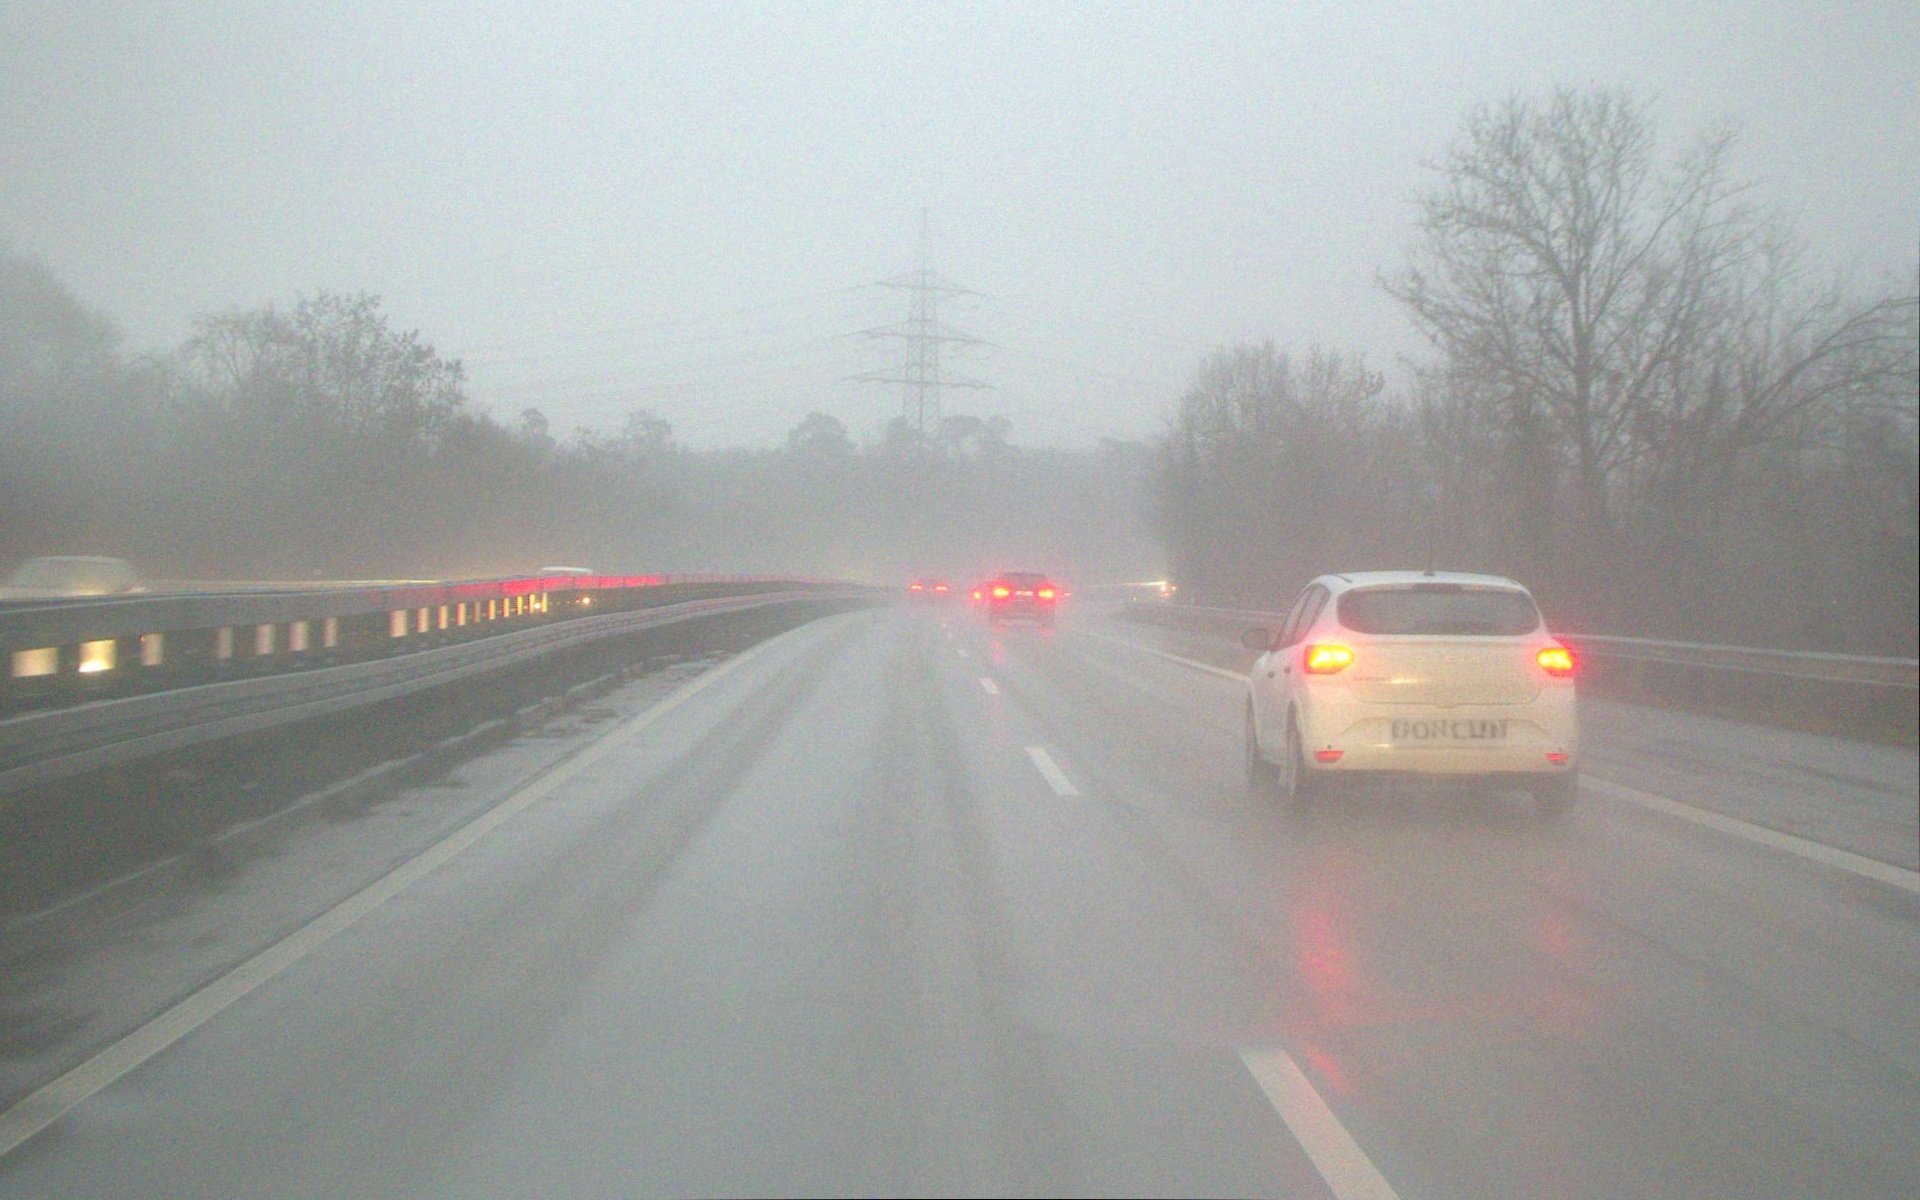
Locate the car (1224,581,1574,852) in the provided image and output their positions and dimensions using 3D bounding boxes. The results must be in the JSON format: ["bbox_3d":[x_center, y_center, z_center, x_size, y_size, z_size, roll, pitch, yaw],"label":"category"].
[{"bbox_3d":[2.823,0.700,22.850,1.845,1.630,3.768,0,0,0],"label":"car"}]

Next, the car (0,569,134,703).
[{"bbox_3d":[-13.515,0.475,49.459,2.164,1.785,4.809,0,1,-1],"label":"car"}]
